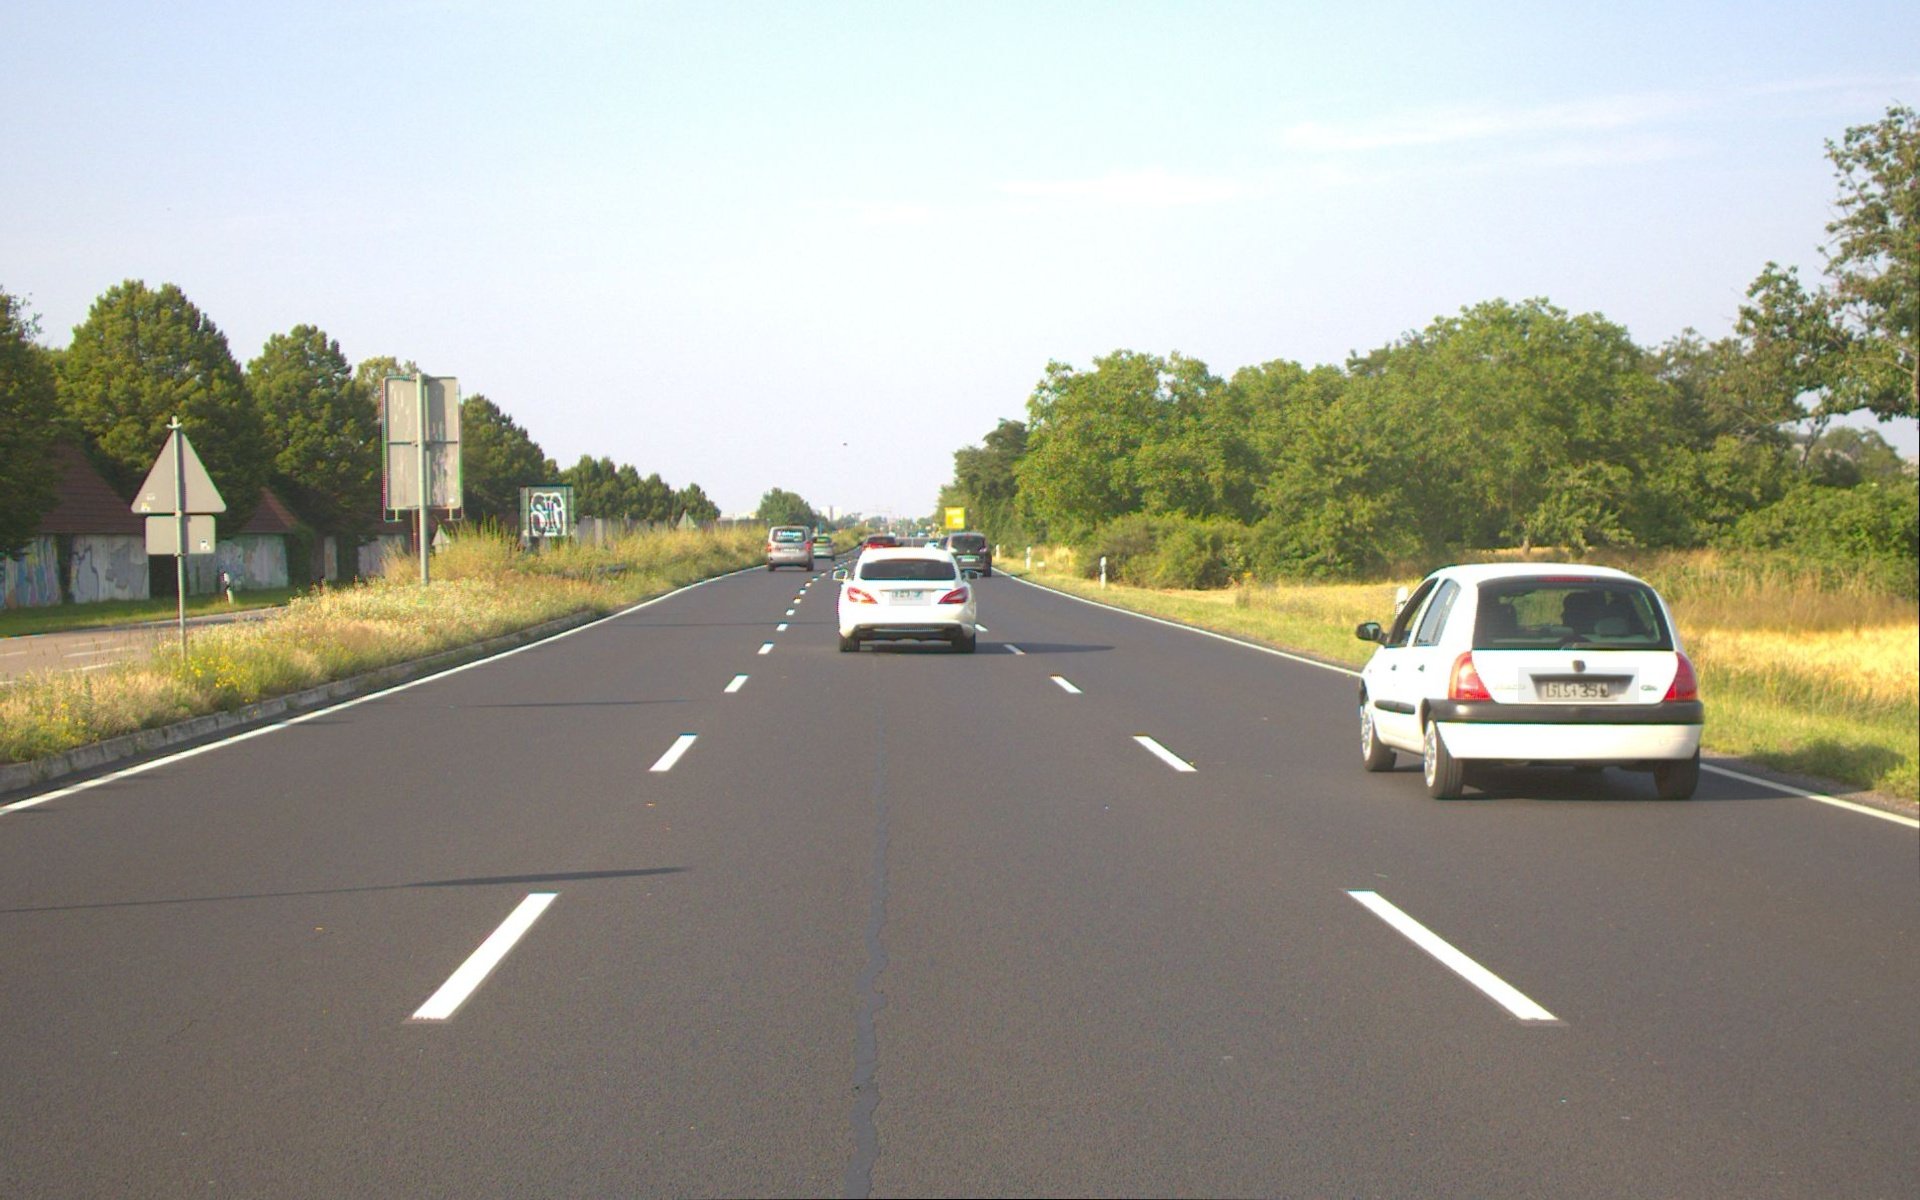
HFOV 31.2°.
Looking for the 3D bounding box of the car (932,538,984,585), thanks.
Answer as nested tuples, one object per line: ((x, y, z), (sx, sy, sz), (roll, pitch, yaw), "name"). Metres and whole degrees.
((-0.084, -1.416, 128.962), (1.828, 1.722, 4.000), (1, 0, -1), "car")

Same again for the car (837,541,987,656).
((-0.679, -0.032, 48.028), (1.993, 1.511, 4.000), (1, 0, -1), "car")

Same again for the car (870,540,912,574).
((-3.064, -1.892, 151.639), (1.812, 1.431, 3.859), (1, 0, -2), "car")

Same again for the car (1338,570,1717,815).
((3.456, 0.521, 21.593), (1.617, 1.382, 3.952), (1, 0, -1), "car")

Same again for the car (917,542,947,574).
((-1.718, -2.577, 210.056), (1.803, 1.897, 3.559), (1, 0, 0), "car")

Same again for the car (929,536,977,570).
((-0.356, -2.240, 165.048), (1.993, 1.579, 4.285), (1, 0, -4), "car")

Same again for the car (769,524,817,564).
((-6.978, -2.315, 143.789), (1.758, 1.612, 4.000), (1, 0, 1), "car")
